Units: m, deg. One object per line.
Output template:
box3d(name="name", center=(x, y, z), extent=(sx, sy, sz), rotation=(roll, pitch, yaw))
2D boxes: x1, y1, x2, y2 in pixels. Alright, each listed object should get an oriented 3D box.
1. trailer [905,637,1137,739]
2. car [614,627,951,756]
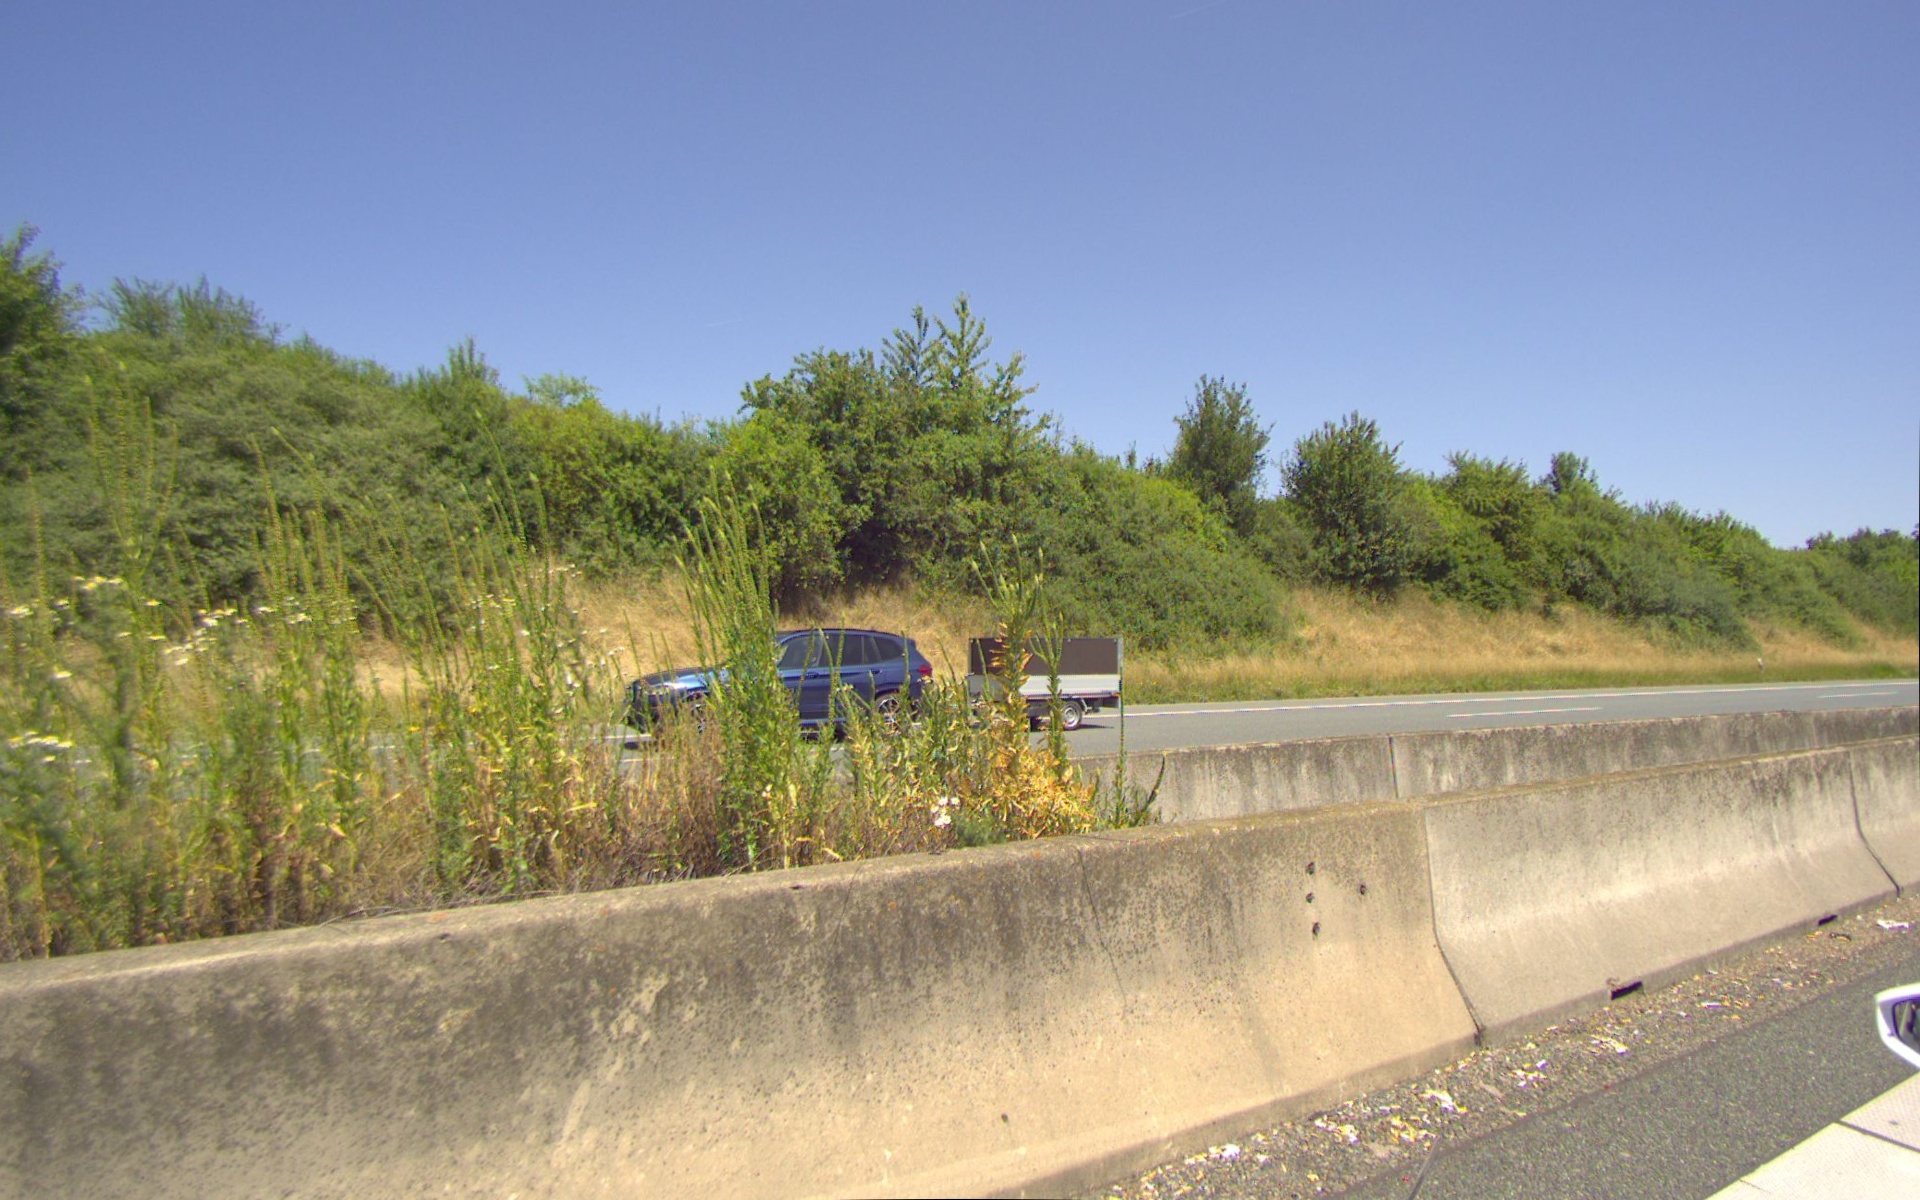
box3d(name="trailer", center=(1.070, 1.444, 17.156), extent=(3.735, 1.572, 1.561), rotation=(1, -3, -30))
box3d(name="car", center=(-2.608, 1.285, 15.032), extent=(4.576, 1.671, 1.985), rotation=(1, -4, -30))
